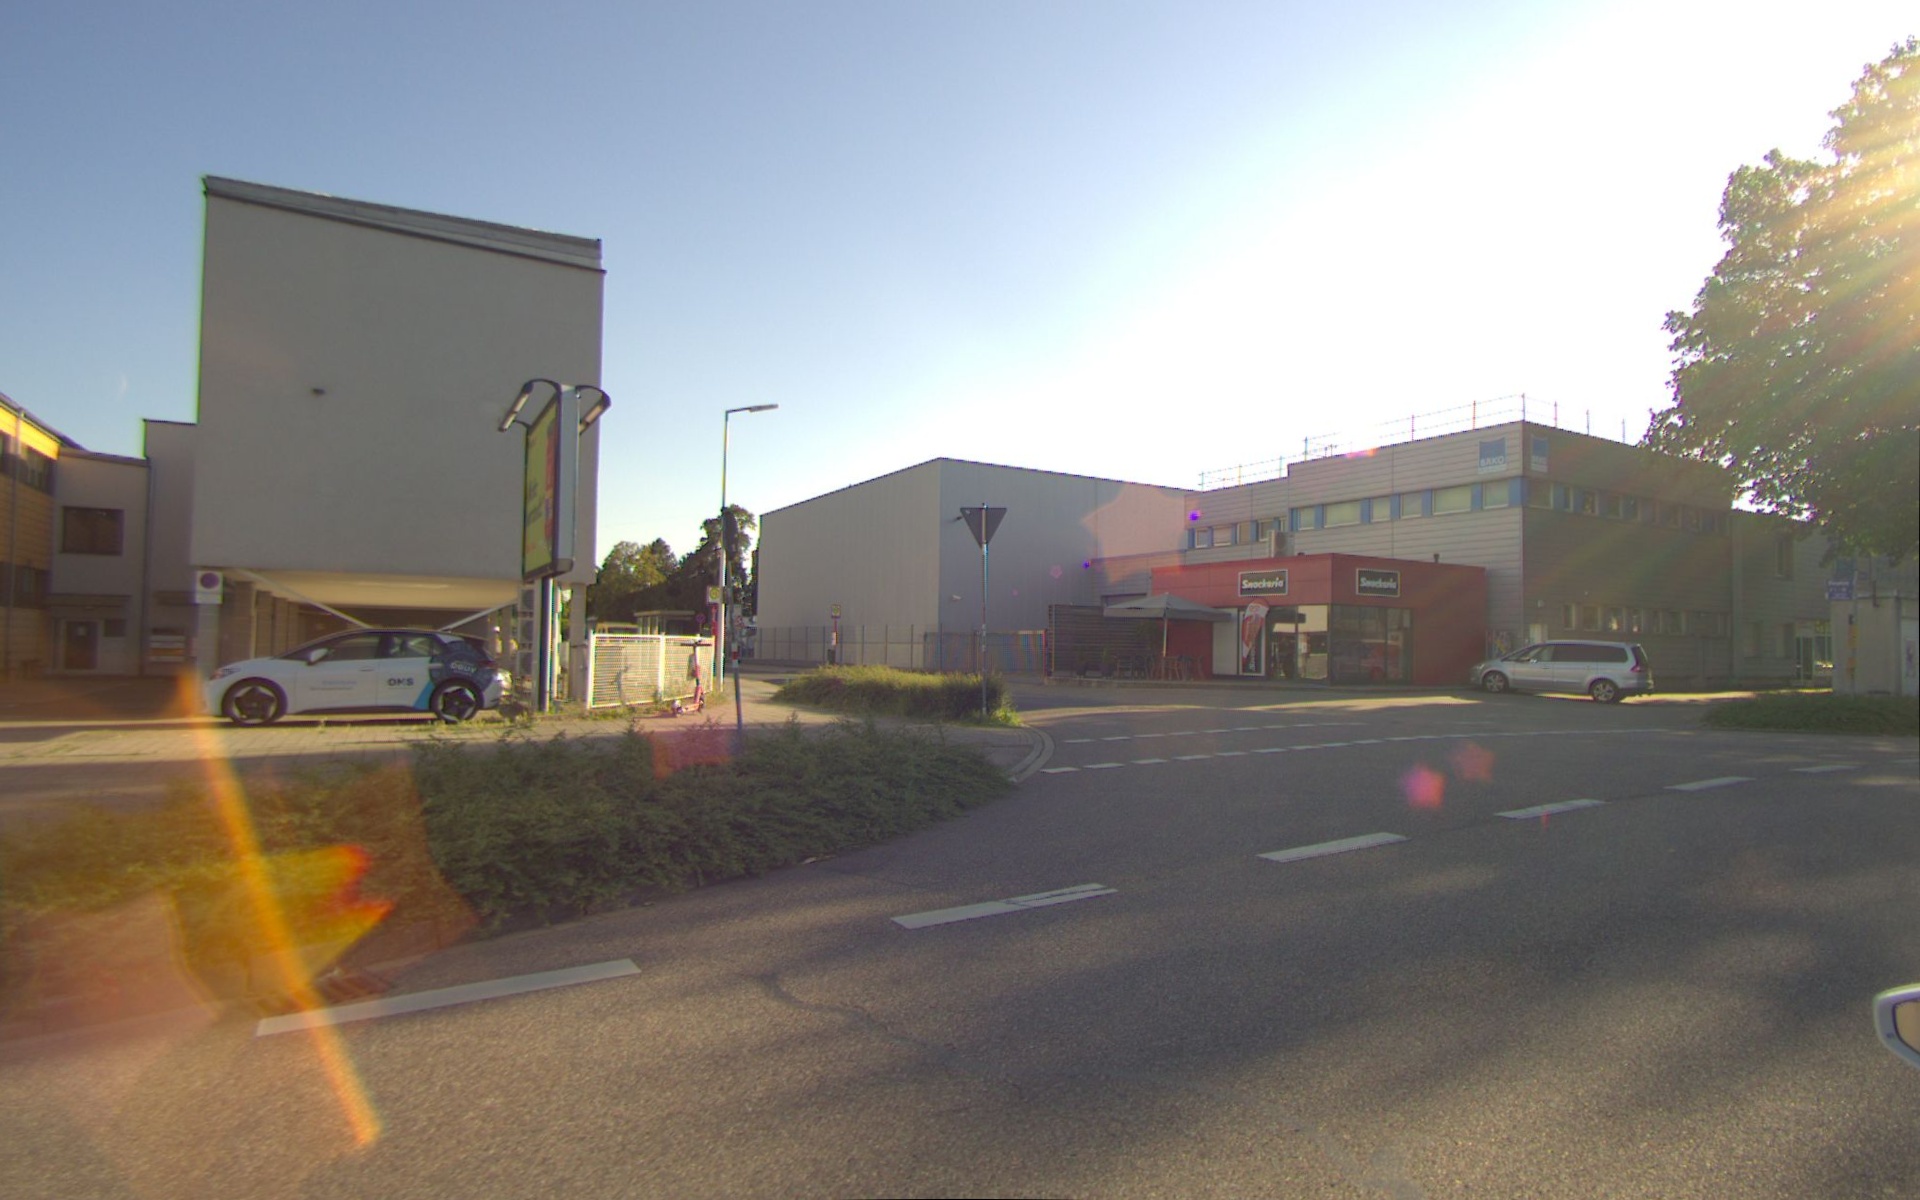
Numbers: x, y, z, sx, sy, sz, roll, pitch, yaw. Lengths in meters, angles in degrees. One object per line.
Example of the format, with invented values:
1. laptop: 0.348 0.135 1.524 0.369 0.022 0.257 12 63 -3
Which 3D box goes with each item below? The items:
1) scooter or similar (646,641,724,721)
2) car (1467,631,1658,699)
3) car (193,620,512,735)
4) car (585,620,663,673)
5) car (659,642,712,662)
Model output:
1. scooter or similar: -4.474 1.289 16.420 0.613 1.216 1.390 1 -1 13
2. car: 17.896 1.879 29.965 4.581 1.764 1.988 0 -2 44
3. car: -9.894 1.183 16.702 4.289 1.598 1.984 0 0 -31
4. car: -15.808 2.138 47.123 2.220 2.291 5.027 2 -2 -33
5. car: -23.739 4.479 86.875 3.962 1.672 1.980 3 -2 -36
